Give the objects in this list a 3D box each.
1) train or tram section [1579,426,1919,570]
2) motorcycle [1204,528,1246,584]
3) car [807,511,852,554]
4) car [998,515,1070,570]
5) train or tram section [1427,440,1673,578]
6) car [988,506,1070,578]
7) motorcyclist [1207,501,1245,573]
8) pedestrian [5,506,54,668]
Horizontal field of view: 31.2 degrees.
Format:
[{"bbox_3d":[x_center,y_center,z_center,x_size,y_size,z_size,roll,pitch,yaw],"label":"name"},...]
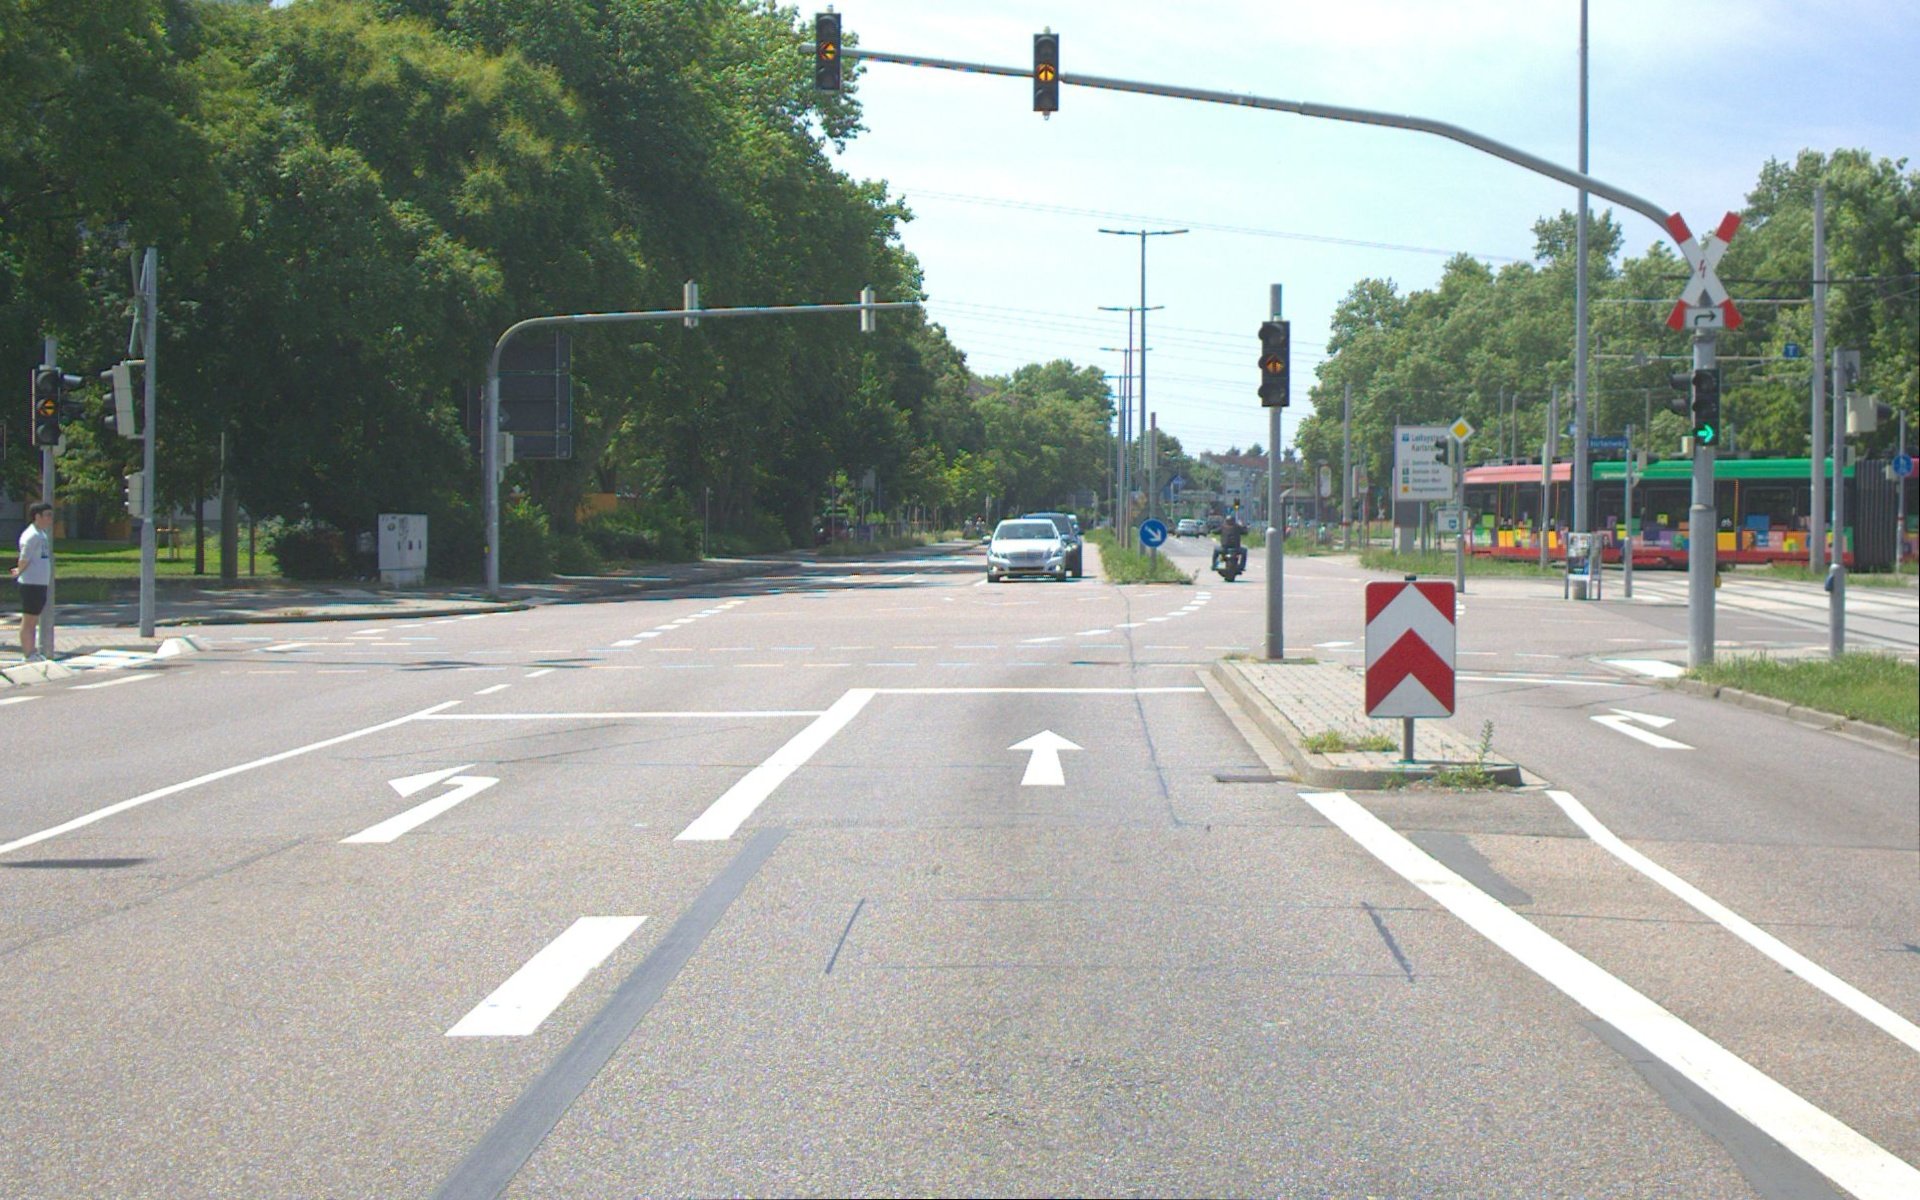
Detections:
[{"bbox_3d":[24.226,-2.869,100.202,2.915,3.799,13.452,3,-2,-39],"label":"train or tram section"},{"bbox_3d":[6.091,-1.031,79.195,0.847,1.251,2.449,2,1,2],"label":"motorcycle"},{"bbox_3d":[-6.512,-3.355,171.659,1.993,2.007,4.000,4,1,0],"label":"car"},{"bbox_3d":[1.915,-1.494,87.984,1.711,1.361,3.865,0,1,3],"label":"car"},{"bbox_3d":[18.856,-2.796,111.151,2.913,3.799,13.077,2,-1,-13],"label":"train or tram section"},{"bbox_3d":[1.644,-1.376,80.533,1.784,1.623,3.865,0,1,3],"label":"car"},{"bbox_3d":[6.129,-1.458,79.239,0.790,1.637,1.211,2,1,2],"label":"motorcyclist"},{"bbox_3d":[-9.756,-0.141,36.056,0.382,1.681,0.486,0,1,-1],"label":"pedestrian"}]
